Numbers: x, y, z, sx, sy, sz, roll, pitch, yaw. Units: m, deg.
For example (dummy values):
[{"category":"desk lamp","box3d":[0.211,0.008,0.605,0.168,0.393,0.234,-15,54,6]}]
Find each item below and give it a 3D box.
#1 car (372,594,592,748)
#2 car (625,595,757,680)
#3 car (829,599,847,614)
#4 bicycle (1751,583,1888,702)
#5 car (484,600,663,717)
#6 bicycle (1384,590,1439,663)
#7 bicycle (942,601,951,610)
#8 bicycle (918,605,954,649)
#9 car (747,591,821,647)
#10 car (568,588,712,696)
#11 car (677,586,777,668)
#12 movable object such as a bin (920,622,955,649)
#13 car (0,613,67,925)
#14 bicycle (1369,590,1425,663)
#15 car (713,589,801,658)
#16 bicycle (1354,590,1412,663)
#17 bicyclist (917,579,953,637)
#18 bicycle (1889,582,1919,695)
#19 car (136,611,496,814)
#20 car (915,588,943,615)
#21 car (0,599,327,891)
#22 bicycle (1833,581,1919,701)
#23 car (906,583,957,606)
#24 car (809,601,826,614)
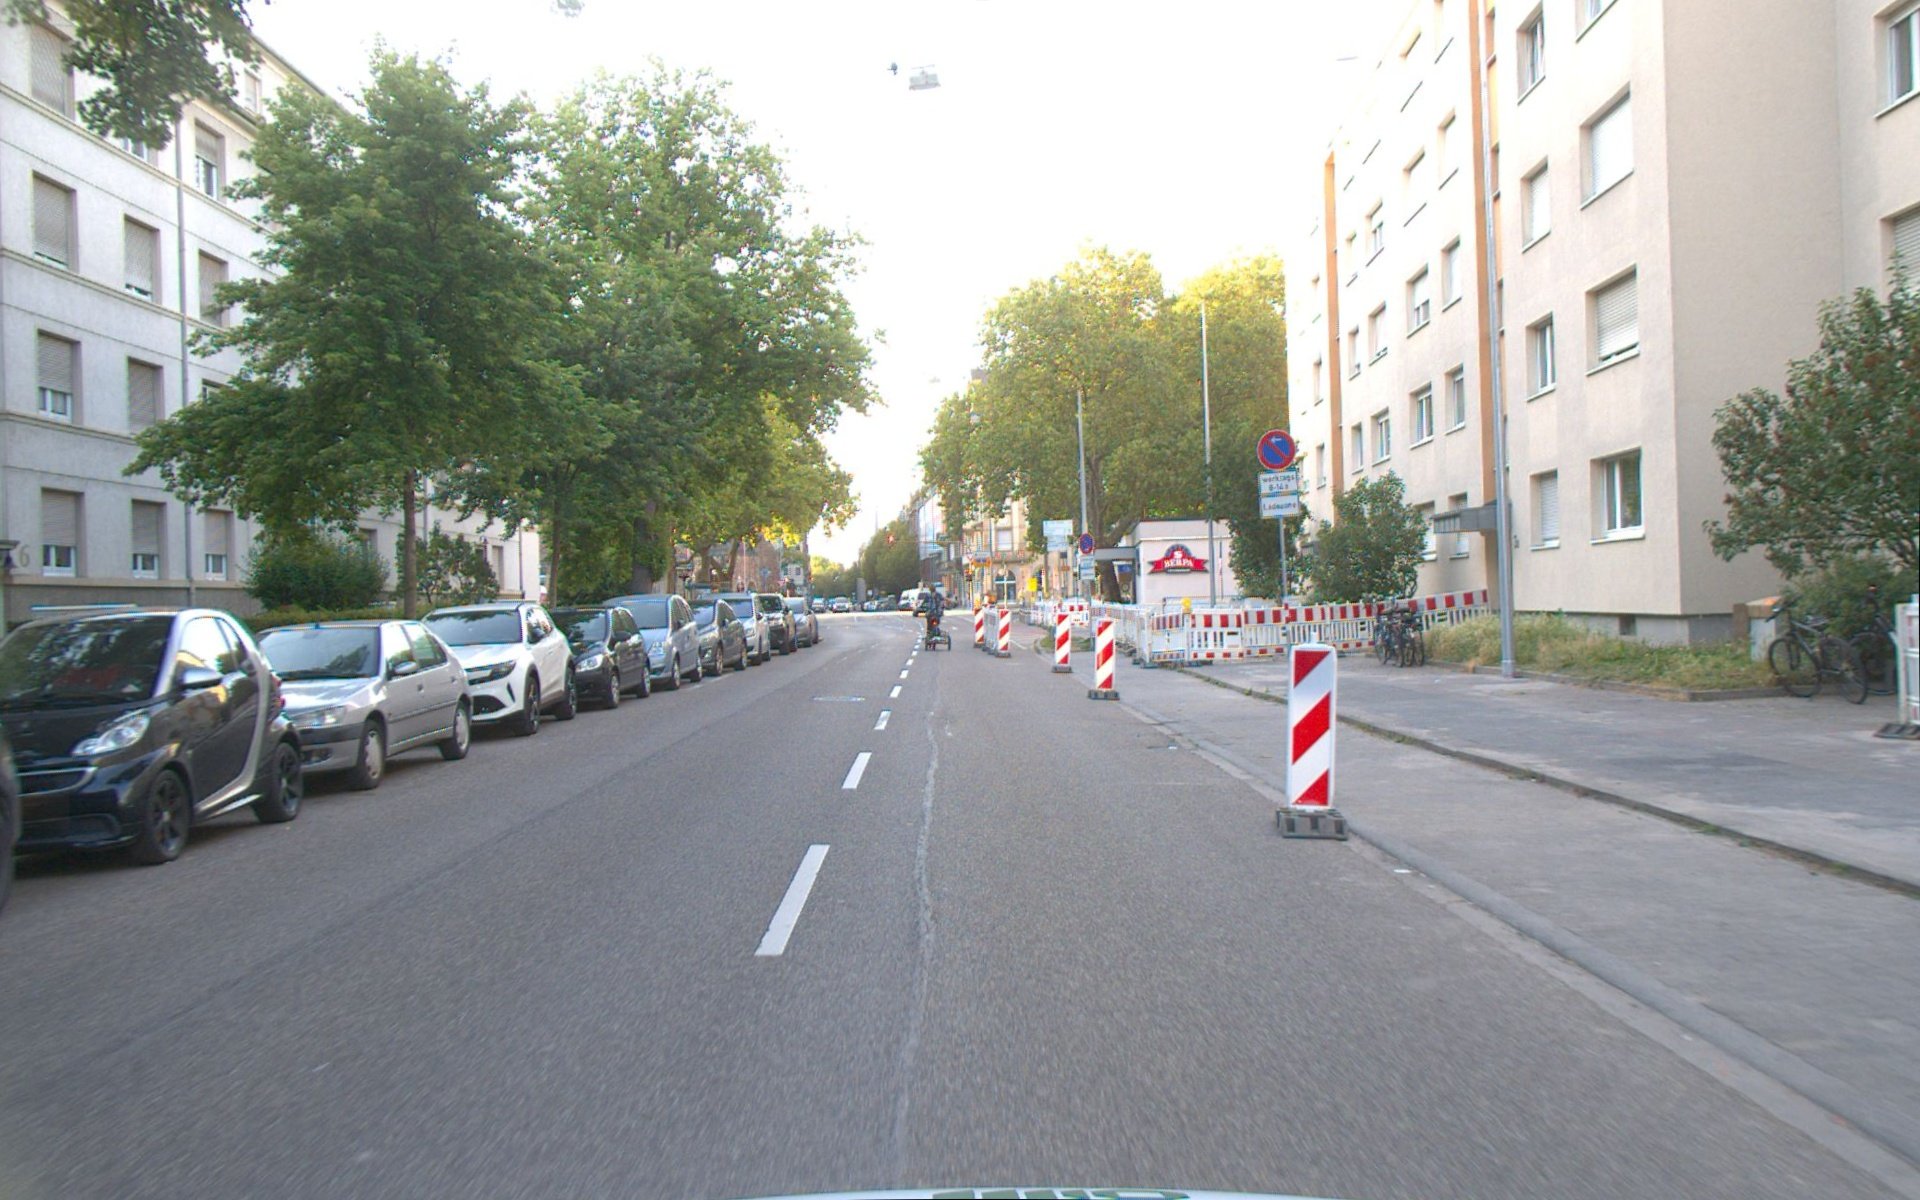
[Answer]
[{"category":"car","box3d":[-5.720,0.787,20.281,1.559,1.565,4.204,-5,0,-3]},{"category":"car","box3d":[-5.438,0.712,33.918,1.696,1.523,4.272,-3,0,3]},{"category":"car","box3d":[-13.673,0.773,185.099,1.748,1.680,3.814,0,0,-9]},{"category":"bicycle","box3d":[9.137,0.425,17.647,0.544,1.192,1.817,-1,0,2]},{"category":"car","box3d":[-5.666,0.806,24.692,1.673,1.477,3.842,-5,0,0]},{"category":"bicycle","box3d":[7.996,0.455,29.350,0.390,1.243,1.825,-1,0,-3]},{"category":"bicycle","box3d":[-1.463,0.574,176.747,0.532,0.985,1.923,-1,0,13]},{"category":"bicycle","box3d":[-0.704,0.767,48.093,0.920,1.192,2.357,-4,0,-2]},{"category":"car","box3d":[-5.748,0.608,54.498,1.914,1.645,4.604,-3,0,-1]},{"category":"car","box3d":[-5.537,0.682,29.112,1.673,1.628,4.116,-5,0,-1]},{"category":"car","box3d":[-5.463,0.608,39.380,1.810,1.720,4.856,-3,0,-3]},{"category":"movable object such as a bin","box3d":[-0.628,0.991,46.417,0.920,0.701,0.993,-4,0,-3]},{"category":"car","box3d":[-5.367,0.872,6.473,1.559,1.491,4.100,-5,0,-3]},{"category":"bicycle","box3d":[7.749,0.456,29.414,0.390,1.243,1.910,-1,0,-3]},{"category":"car","box3d":[-5.659,0.629,46.631,1.914,1.748,4.769,-3,0,-1]},{"category":"bicycle","box3d":[7.482,0.457,29.318,0.442,1.243,1.910,-1,0,-3]},{"category":"bicyclist","box3d":[-0.743,0.226,48.117,0.920,1.609,1.146,-4,0,-3]},{"category":"bicycle","box3d":[10.442,0.402,17.221,0.544,1.192,1.817,-1,0,2]},{"category":"car","box3d":[-5.601,0.887,14.970,1.558,1.428,4.180,-5,0,-1]},{"category":"car","box3d":[-2.220,0.094,118.570,1.829,1.846,3.998,-2,0,-2]},{"category":"car","box3d":[-5.450,0.834,10.683,1.493,1.555,3.163,-4,0,-2]},{"category":"bicycle","box3d":[9.854,0.402,17.261,0.544,1.192,1.817,-1,0,2]},{"category":"car","box3d":[-3.109,-0.596,180.811,5.779,2.328,2.039,-2,0,-44]},{"category":"car","box3d":[-18.504,1.004,214.641,1.956,1.680,3.814,0,0,-9]}]
